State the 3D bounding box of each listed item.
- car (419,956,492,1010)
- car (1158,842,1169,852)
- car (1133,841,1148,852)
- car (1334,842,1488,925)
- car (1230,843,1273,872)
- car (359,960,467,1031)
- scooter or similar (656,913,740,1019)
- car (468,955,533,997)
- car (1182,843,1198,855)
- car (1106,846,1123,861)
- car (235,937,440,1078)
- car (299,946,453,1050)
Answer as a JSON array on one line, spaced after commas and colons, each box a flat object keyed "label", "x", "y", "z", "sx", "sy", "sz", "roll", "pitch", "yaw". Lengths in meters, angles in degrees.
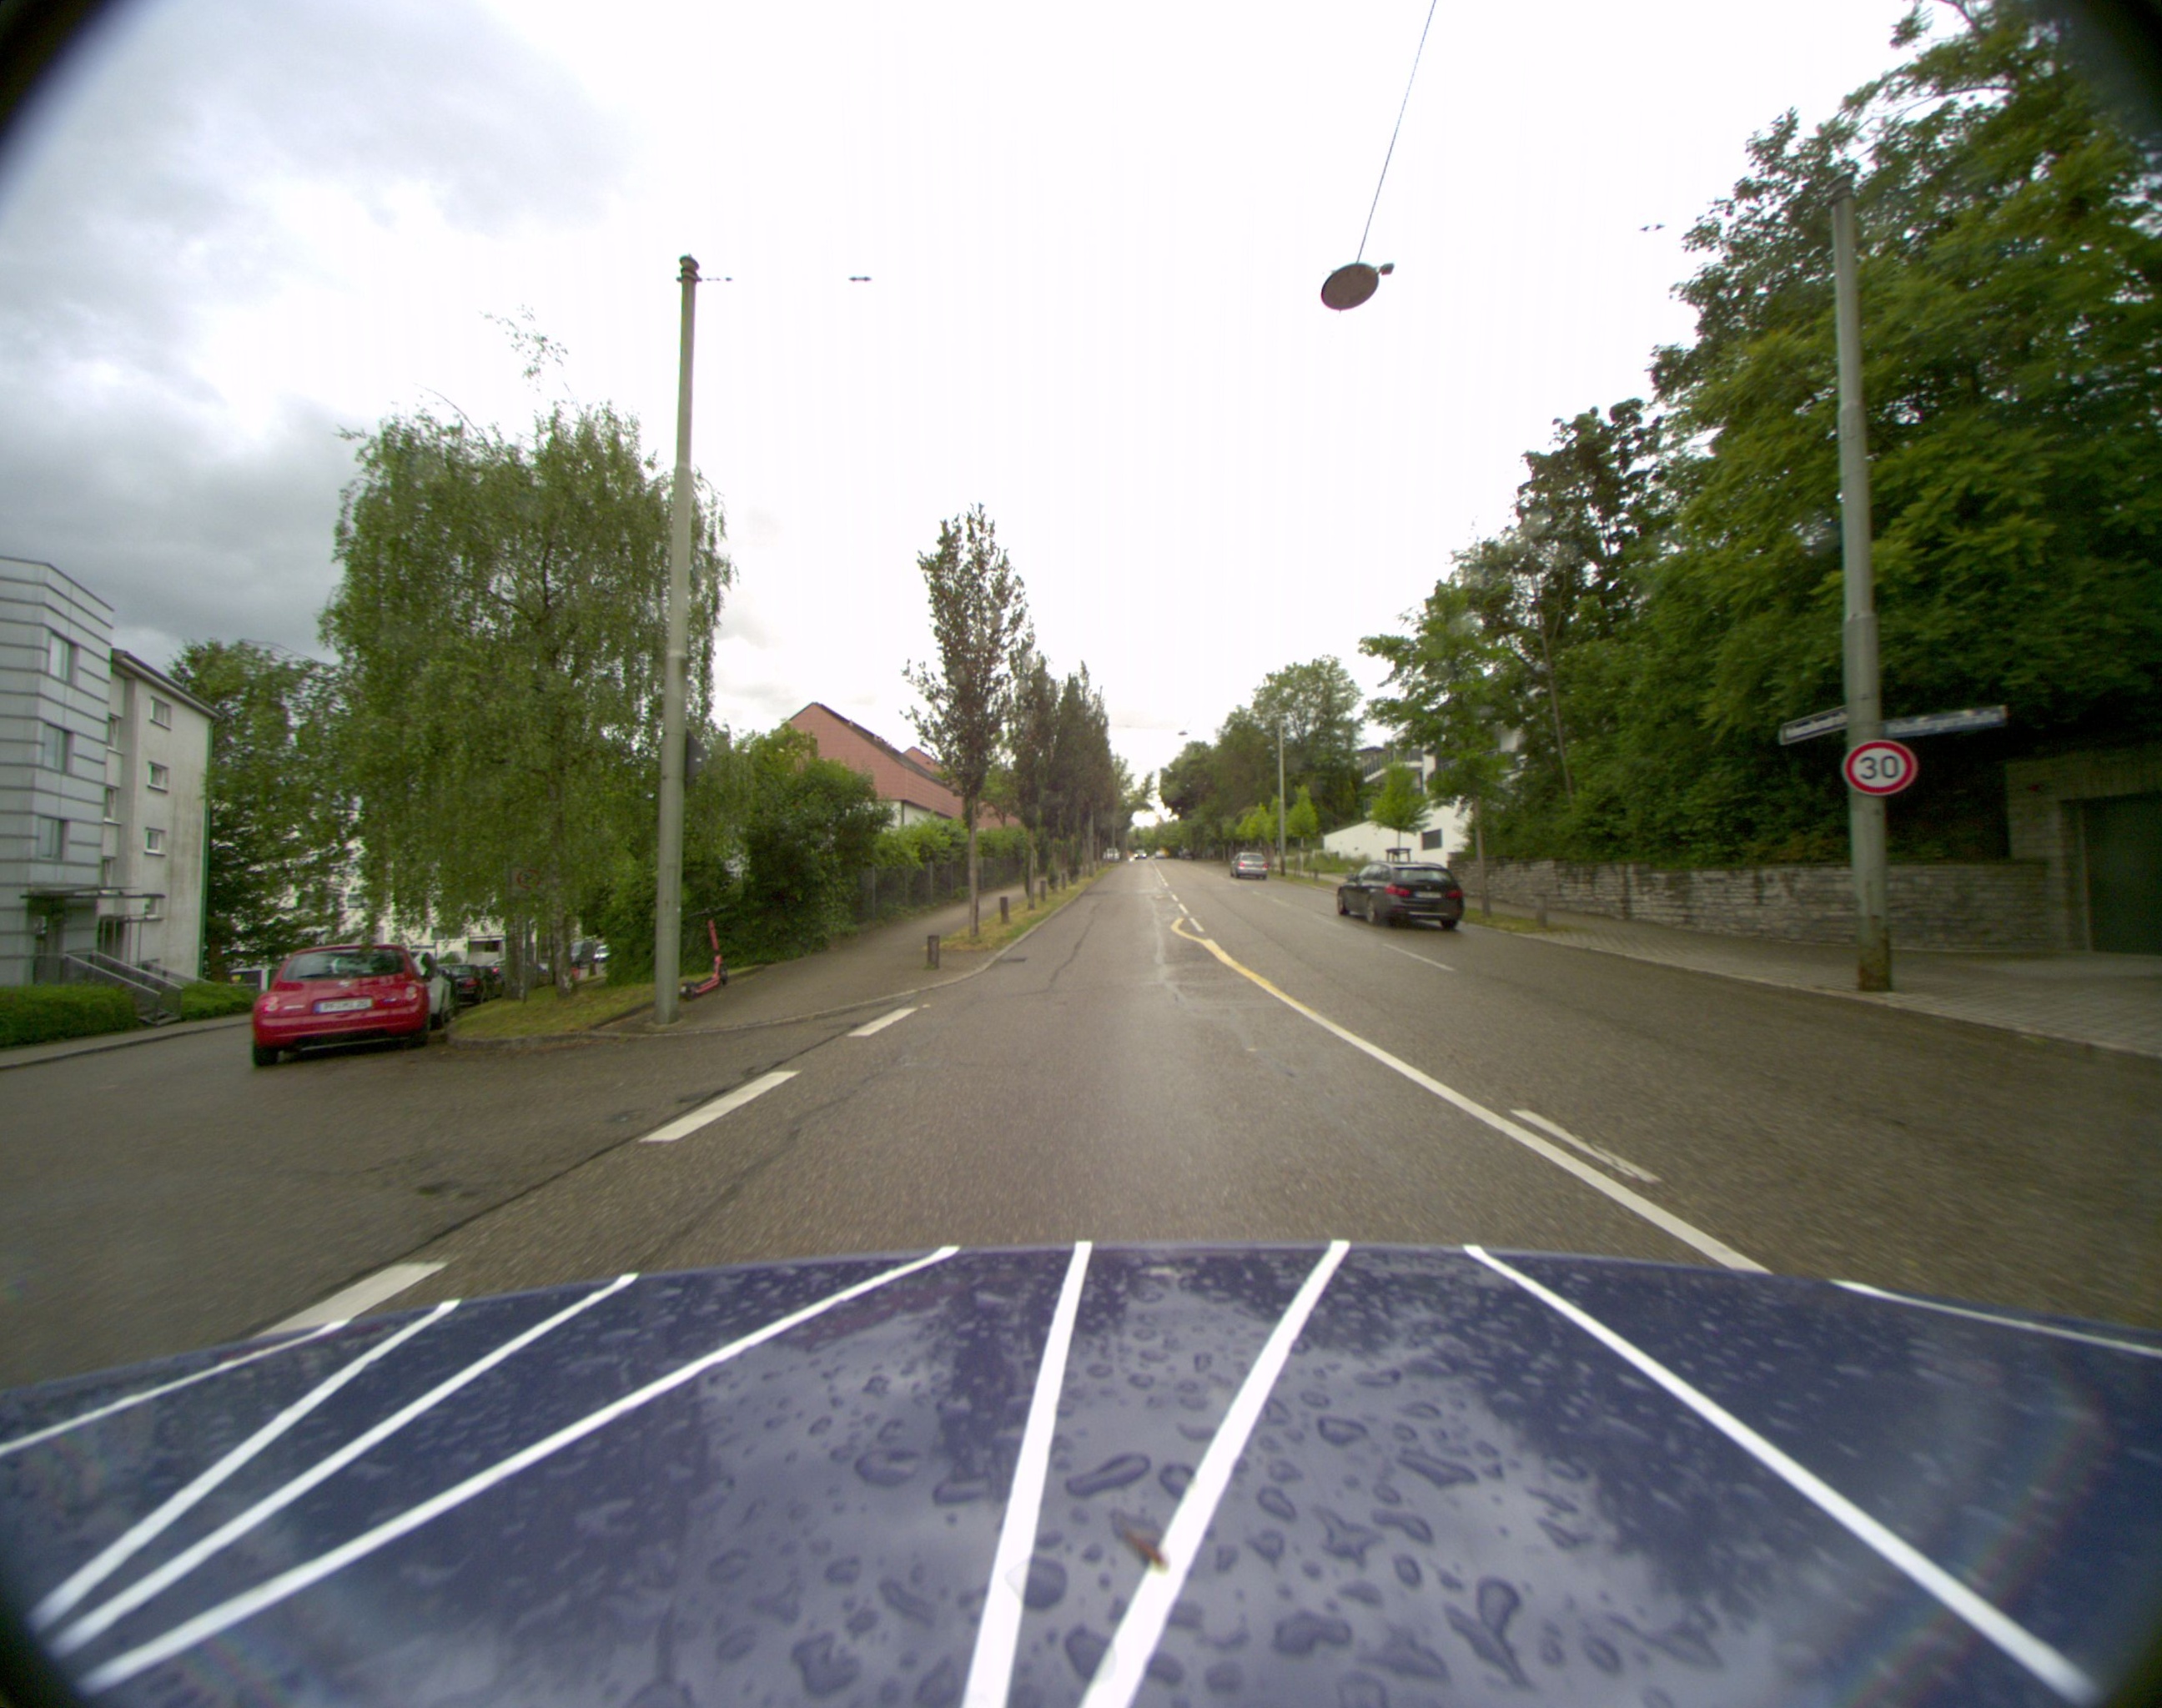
[{"label": "car", "x": -20.431, "y": 4.168, "z": 24.938, "sx": 1.598, "sy": 1.370, "sz": 3.892, "roll": -5, "pitch": -3, "yaw": -37}, {"label": "car", "x": 13.714, "y": -1.166, "z": 126.833, "sx": 1.765, "sy": 1.478, "sz": 4.000, "roll": -1, "pitch": 2, "yaw": 5}, {"label": "car", "x": 9.530, "y": -1.170, "z": 121.204, "sx": 1.997, "sy": 1.674, "sz": 4.002, "roll": -5, "pitch": 0, "yaw": 7}, {"label": "car", "x": 7.384, "y": 0.555, "z": 17.570, "sx": 1.915, "sy": 1.576, "sz": 4.587, "roll": 1, "pitch": 2, "yaw": 5}, {"label": "car", "x": 9.352, "y": 0.175, "z": 41.956, "sx": 1.769, "sy": 1.477, "sz": 3.802, "roll": 1, "pitch": 1, "yaw": 5}, {"label": "car", "x": -17.506, "y": 3.691, "z": 20.086, "sx": 1.730, "sy": 1.412, "sz": 4.295, "roll": -5, "pitch": -5, "yaw": -37}, {"label": "scooter or similar", "x": -5.342, "y": 1.528, "z": 10.670, "sx": 0.343, "sy": 1.247, "sz": 1.267, "roll": -5, "pitch": 2, "yaw": 4}, {"label": "car", "x": -27.354, "y": 5.704, "z": 35.908, "sx": 2.003, "sy": 1.585, "sz": 3.994, "roll": -5, "pitch": -4, "yaw": -33}, {"label": "car", "x": 14.301, "y": -0.642, "z": 99.457, "sx": 1.749, "sy": 1.540, "sz": 3.918, "roll": 1, "pitch": 1, "yaw": 4}, {"label": "car", "x": 3.854, "y": -0.083, "z": 86.302, "sx": 1.829, "sy": 1.620, "sz": 4.000, "roll": -2, "pitch": 1, "yaw": 3}, {"label": "car", "x": -10.479, "y": 2.112, "z": 10.967, "sx": 1.648, "sy": 1.512, "sz": 3.564, "roll": -2, "pitch": -6, "yaw": -37}, {"label": "car", "x": -13.860, "y": 2.838, "z": 15.178, "sx": 1.730, "sy": 1.531, "sz": 4.367, "roll": -5, "pitch": -5, "yaw": -37}]
